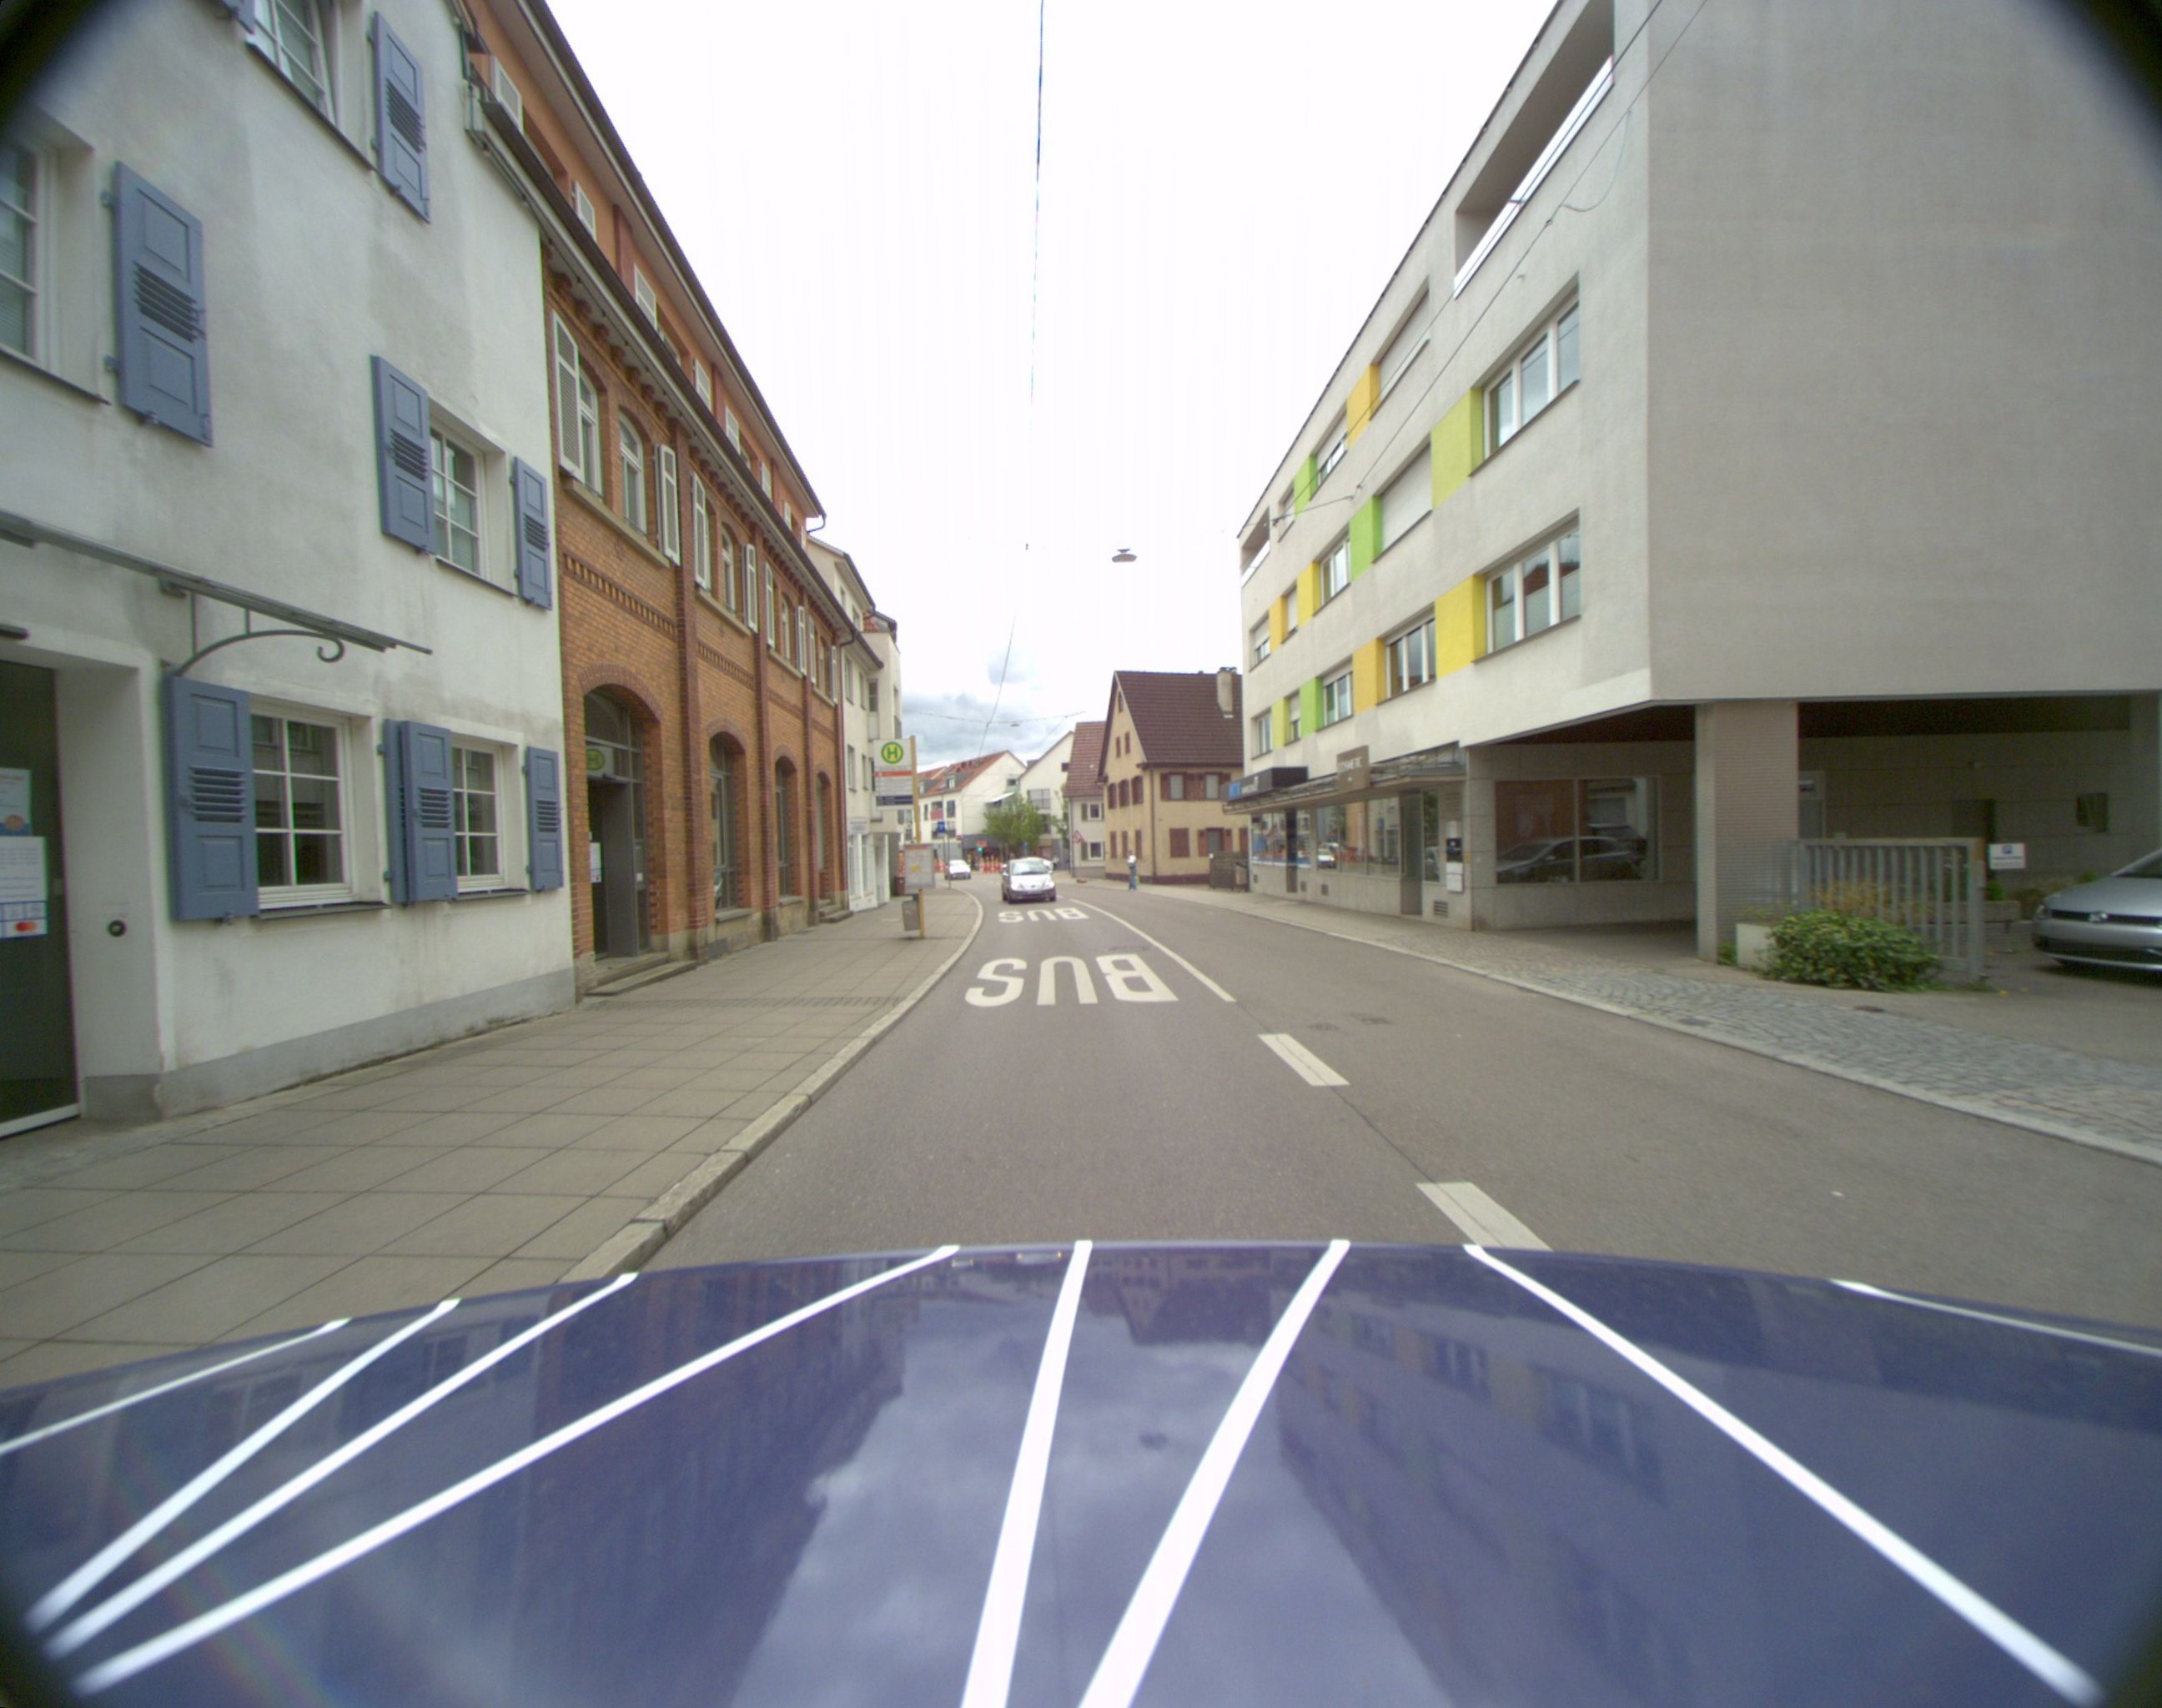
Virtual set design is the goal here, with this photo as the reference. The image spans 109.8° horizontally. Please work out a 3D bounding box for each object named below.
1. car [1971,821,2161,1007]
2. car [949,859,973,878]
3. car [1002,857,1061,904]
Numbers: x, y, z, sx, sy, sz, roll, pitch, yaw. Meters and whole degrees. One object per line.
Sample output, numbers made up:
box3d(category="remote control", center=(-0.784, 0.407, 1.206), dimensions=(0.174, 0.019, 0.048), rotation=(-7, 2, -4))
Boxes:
box3d(category="car", center=(11.806, 0.479, 7.398), dimensions=(4.007, 1.652, 1.886), rotation=(-2, 1, 1))
box3d(category="car", center=(-9.310, 1.076, 59.131), dimensions=(1.756, 1.347, 3.997), rotation=(-2, 0, -9))
box3d(category="car", center=(-1.943, 0.924, 28.667), dimensions=(1.896, 1.618, 3.997), rotation=(-1, 0, -8))
